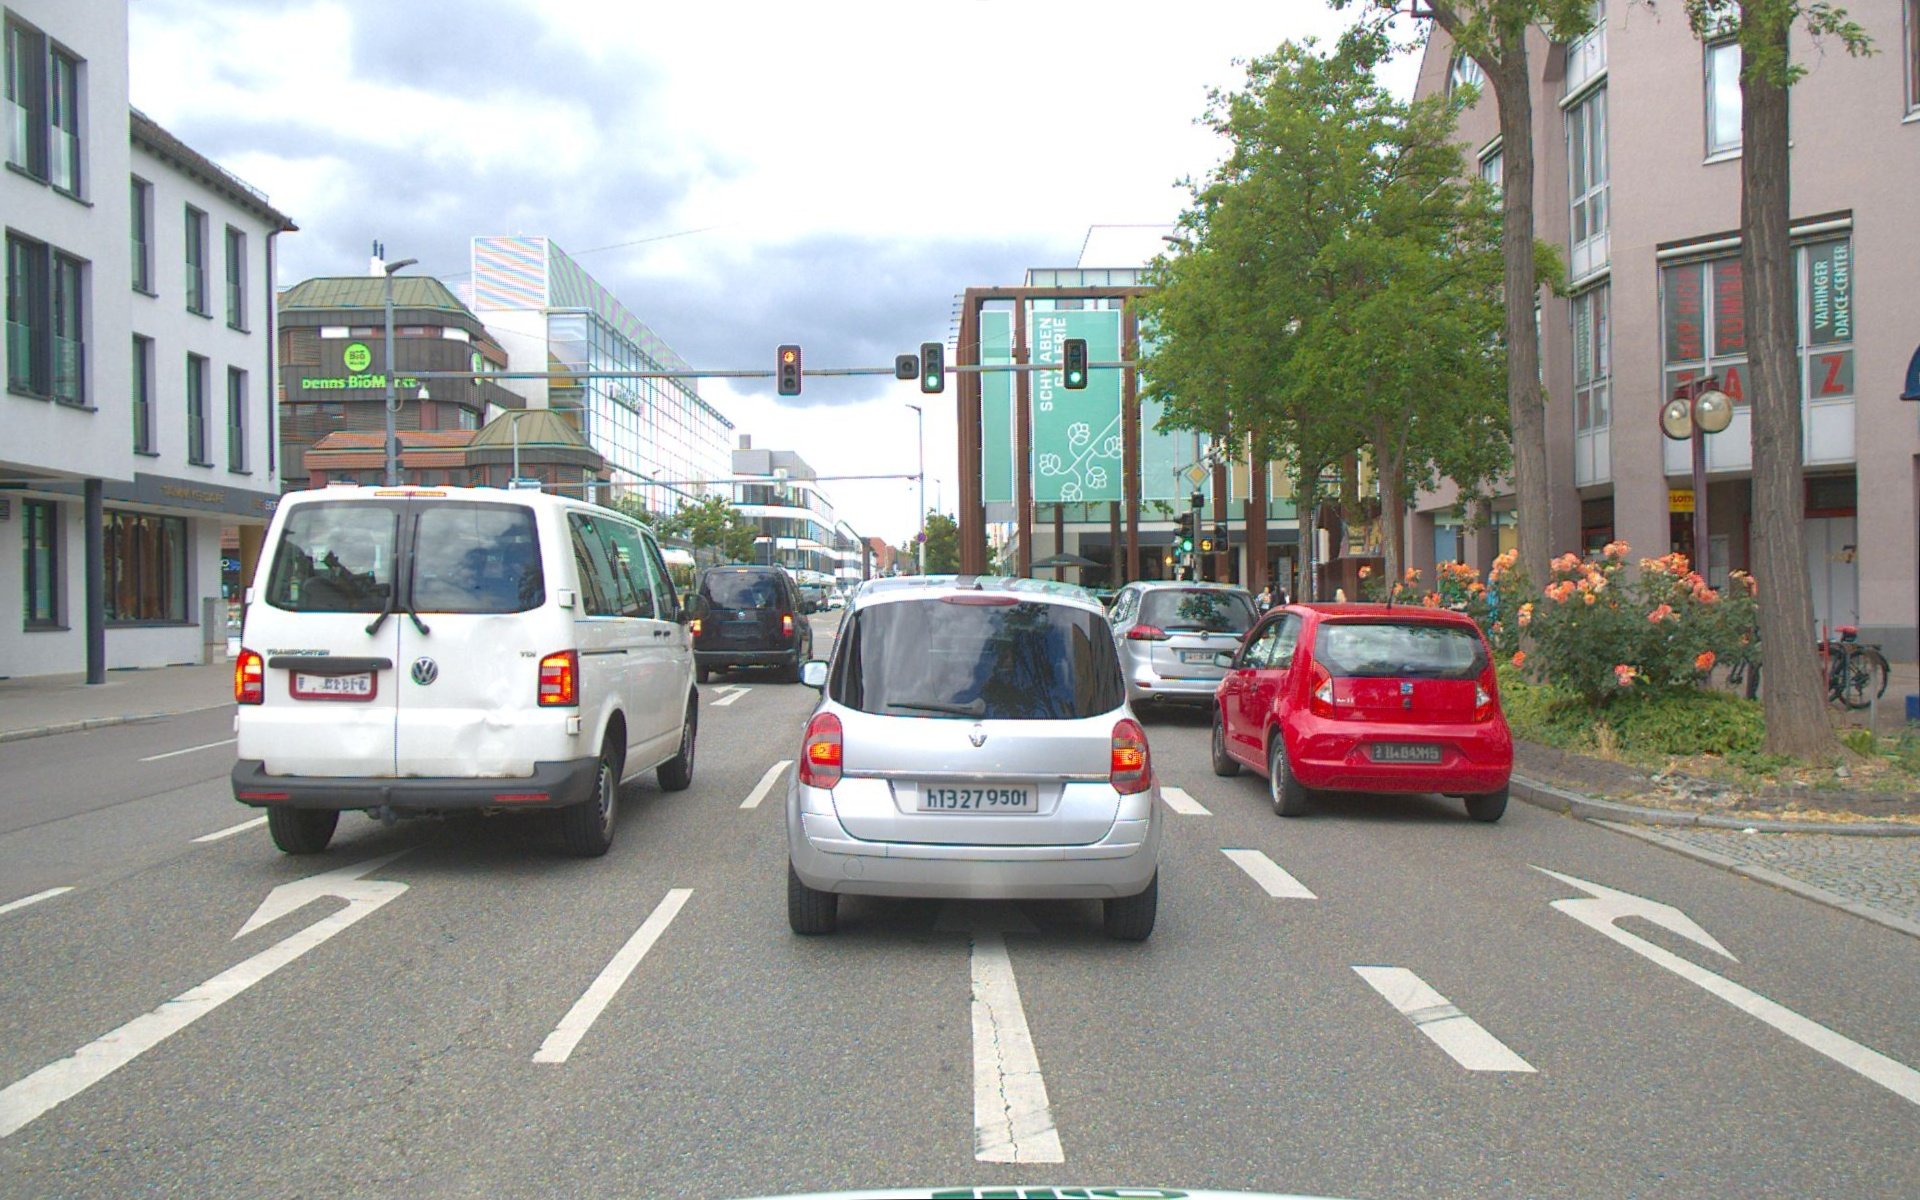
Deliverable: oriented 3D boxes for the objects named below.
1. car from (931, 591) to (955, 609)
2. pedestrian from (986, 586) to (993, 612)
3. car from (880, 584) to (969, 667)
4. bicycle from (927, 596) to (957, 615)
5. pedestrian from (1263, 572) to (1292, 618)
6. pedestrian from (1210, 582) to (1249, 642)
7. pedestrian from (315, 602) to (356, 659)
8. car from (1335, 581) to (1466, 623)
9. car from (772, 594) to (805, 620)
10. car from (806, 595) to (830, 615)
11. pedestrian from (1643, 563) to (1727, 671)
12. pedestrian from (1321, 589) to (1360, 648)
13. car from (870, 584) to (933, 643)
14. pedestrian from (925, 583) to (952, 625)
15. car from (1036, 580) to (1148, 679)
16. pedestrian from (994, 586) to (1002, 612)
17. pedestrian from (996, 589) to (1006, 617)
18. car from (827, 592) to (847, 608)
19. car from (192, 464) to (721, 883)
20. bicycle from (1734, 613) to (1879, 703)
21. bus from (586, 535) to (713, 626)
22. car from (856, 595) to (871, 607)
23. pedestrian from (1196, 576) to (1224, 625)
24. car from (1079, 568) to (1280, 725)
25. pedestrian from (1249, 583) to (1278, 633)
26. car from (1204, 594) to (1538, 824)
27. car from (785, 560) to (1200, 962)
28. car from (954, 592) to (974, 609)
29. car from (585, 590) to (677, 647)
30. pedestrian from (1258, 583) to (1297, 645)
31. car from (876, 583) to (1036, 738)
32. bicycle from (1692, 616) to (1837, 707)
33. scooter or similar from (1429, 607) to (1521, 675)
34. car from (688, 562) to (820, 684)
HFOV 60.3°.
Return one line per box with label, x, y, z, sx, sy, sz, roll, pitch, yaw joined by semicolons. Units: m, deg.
car;-1.355;-0.025;132.168;1.839;1.358;4.000;1;0;0
pedestrian;1.770;-0.053;99.306;0.418;1.576;0.481;-1;0;-3
car;-0.688;0.471;32.882;1.636;1.521;3.641;1;0;-1
bicycle;-0.974;0.292;88.052;1.528;1.010;0.752;-1;0;2
pedestrian;11.308;-0.168;58.880;0.805;1.623;1.039;0;0;-2
pedestrian;7.918;0.340;48.610;0.861;1.711;1.119;-1;0;-4
pedestrian;-19.939;0.979;52.829;0.928;1.786;0.945;-1;0;0
car;15.334;0.061;57.668;4.090;1.428;1.799;0;0;-4
car;-10.405;0.435;100.553;1.626;1.491;4.000;-2;0;-1
car;-11.457;0.410;133.738;1.626;1.491;4.000;-2;0;-1
pedestrian;11.506;0.262;26.288;0.792;1.654;1.093;-1;0;-3
pedestrian;11.645;0.557;50.600;0.861;1.798;1.119;-1;0;-4
car;-1.571;0.346;45.436;1.636;1.521;3.641;1;0;-1
pedestrian;-0.878;0.149;66.413;0.854;1.675;0.678;0;0;33
car;2.462;0.520;31.764;1.704;1.730;4.380;1;0;-1
pedestrian;2.276;-0.044;99.409;0.418;1.576;0.481;-1;0;-3
pedestrian;1.834;0.149;74.528;0.438;1.241;0.607;-1;0;2
car;-11.615;0.004;156.345;1.626;1.491;4.000;-2;0;-1
car;-2.838;0.351;10.608;1.953;2.049;4.839;1;0;-1
bicycle;10.452;0.697;20.447;1.541;1.067;0.404;-1;0;41
bus;-13.009;-0.828;70.586;2.926;3.385;12.306;-3;1;0
car;-12.004;0.142;206.747;1.626;1.491;4.000;-2;0;-1
pedestrian;8.551;0.021;56.655;0.727;1.654;0.953;-1;0;-4
car;2.620;0.512;20.727;1.705;1.730;4.378;1;0;-3
pedestrian;10.274;0.260;55.948;0.727;1.654;0.953;-1;0;-4
car;2.976;0.713;12.715;1.593;1.473;3.641;1;0;-1
car;0.106;0.636;8.448;1.636;1.581;3.641;1;0;-1
car;0.359;0.010;158.733;1.839;1.591;4.000;1;0;0
car;-8.942;0.486;45.269;1.723;1.474;4.035;-1;0;-1
pedestrian;9.429;0.406;49.152;0.861;1.798;1.119;-1;0;-4
car;-0.068;0.621;19.029;1.636;1.581;3.641;1;0;-1
bicycle;9.817;0.735;20.215;1.541;1.067;0.404;-1;0;41
scooter or similar;8.678;0.676;27.935;0.462;1.106;1.878;-1;0;-18
car;-3.385;0.347;27.915;1.673;1.852;4.571;1;0;-1
